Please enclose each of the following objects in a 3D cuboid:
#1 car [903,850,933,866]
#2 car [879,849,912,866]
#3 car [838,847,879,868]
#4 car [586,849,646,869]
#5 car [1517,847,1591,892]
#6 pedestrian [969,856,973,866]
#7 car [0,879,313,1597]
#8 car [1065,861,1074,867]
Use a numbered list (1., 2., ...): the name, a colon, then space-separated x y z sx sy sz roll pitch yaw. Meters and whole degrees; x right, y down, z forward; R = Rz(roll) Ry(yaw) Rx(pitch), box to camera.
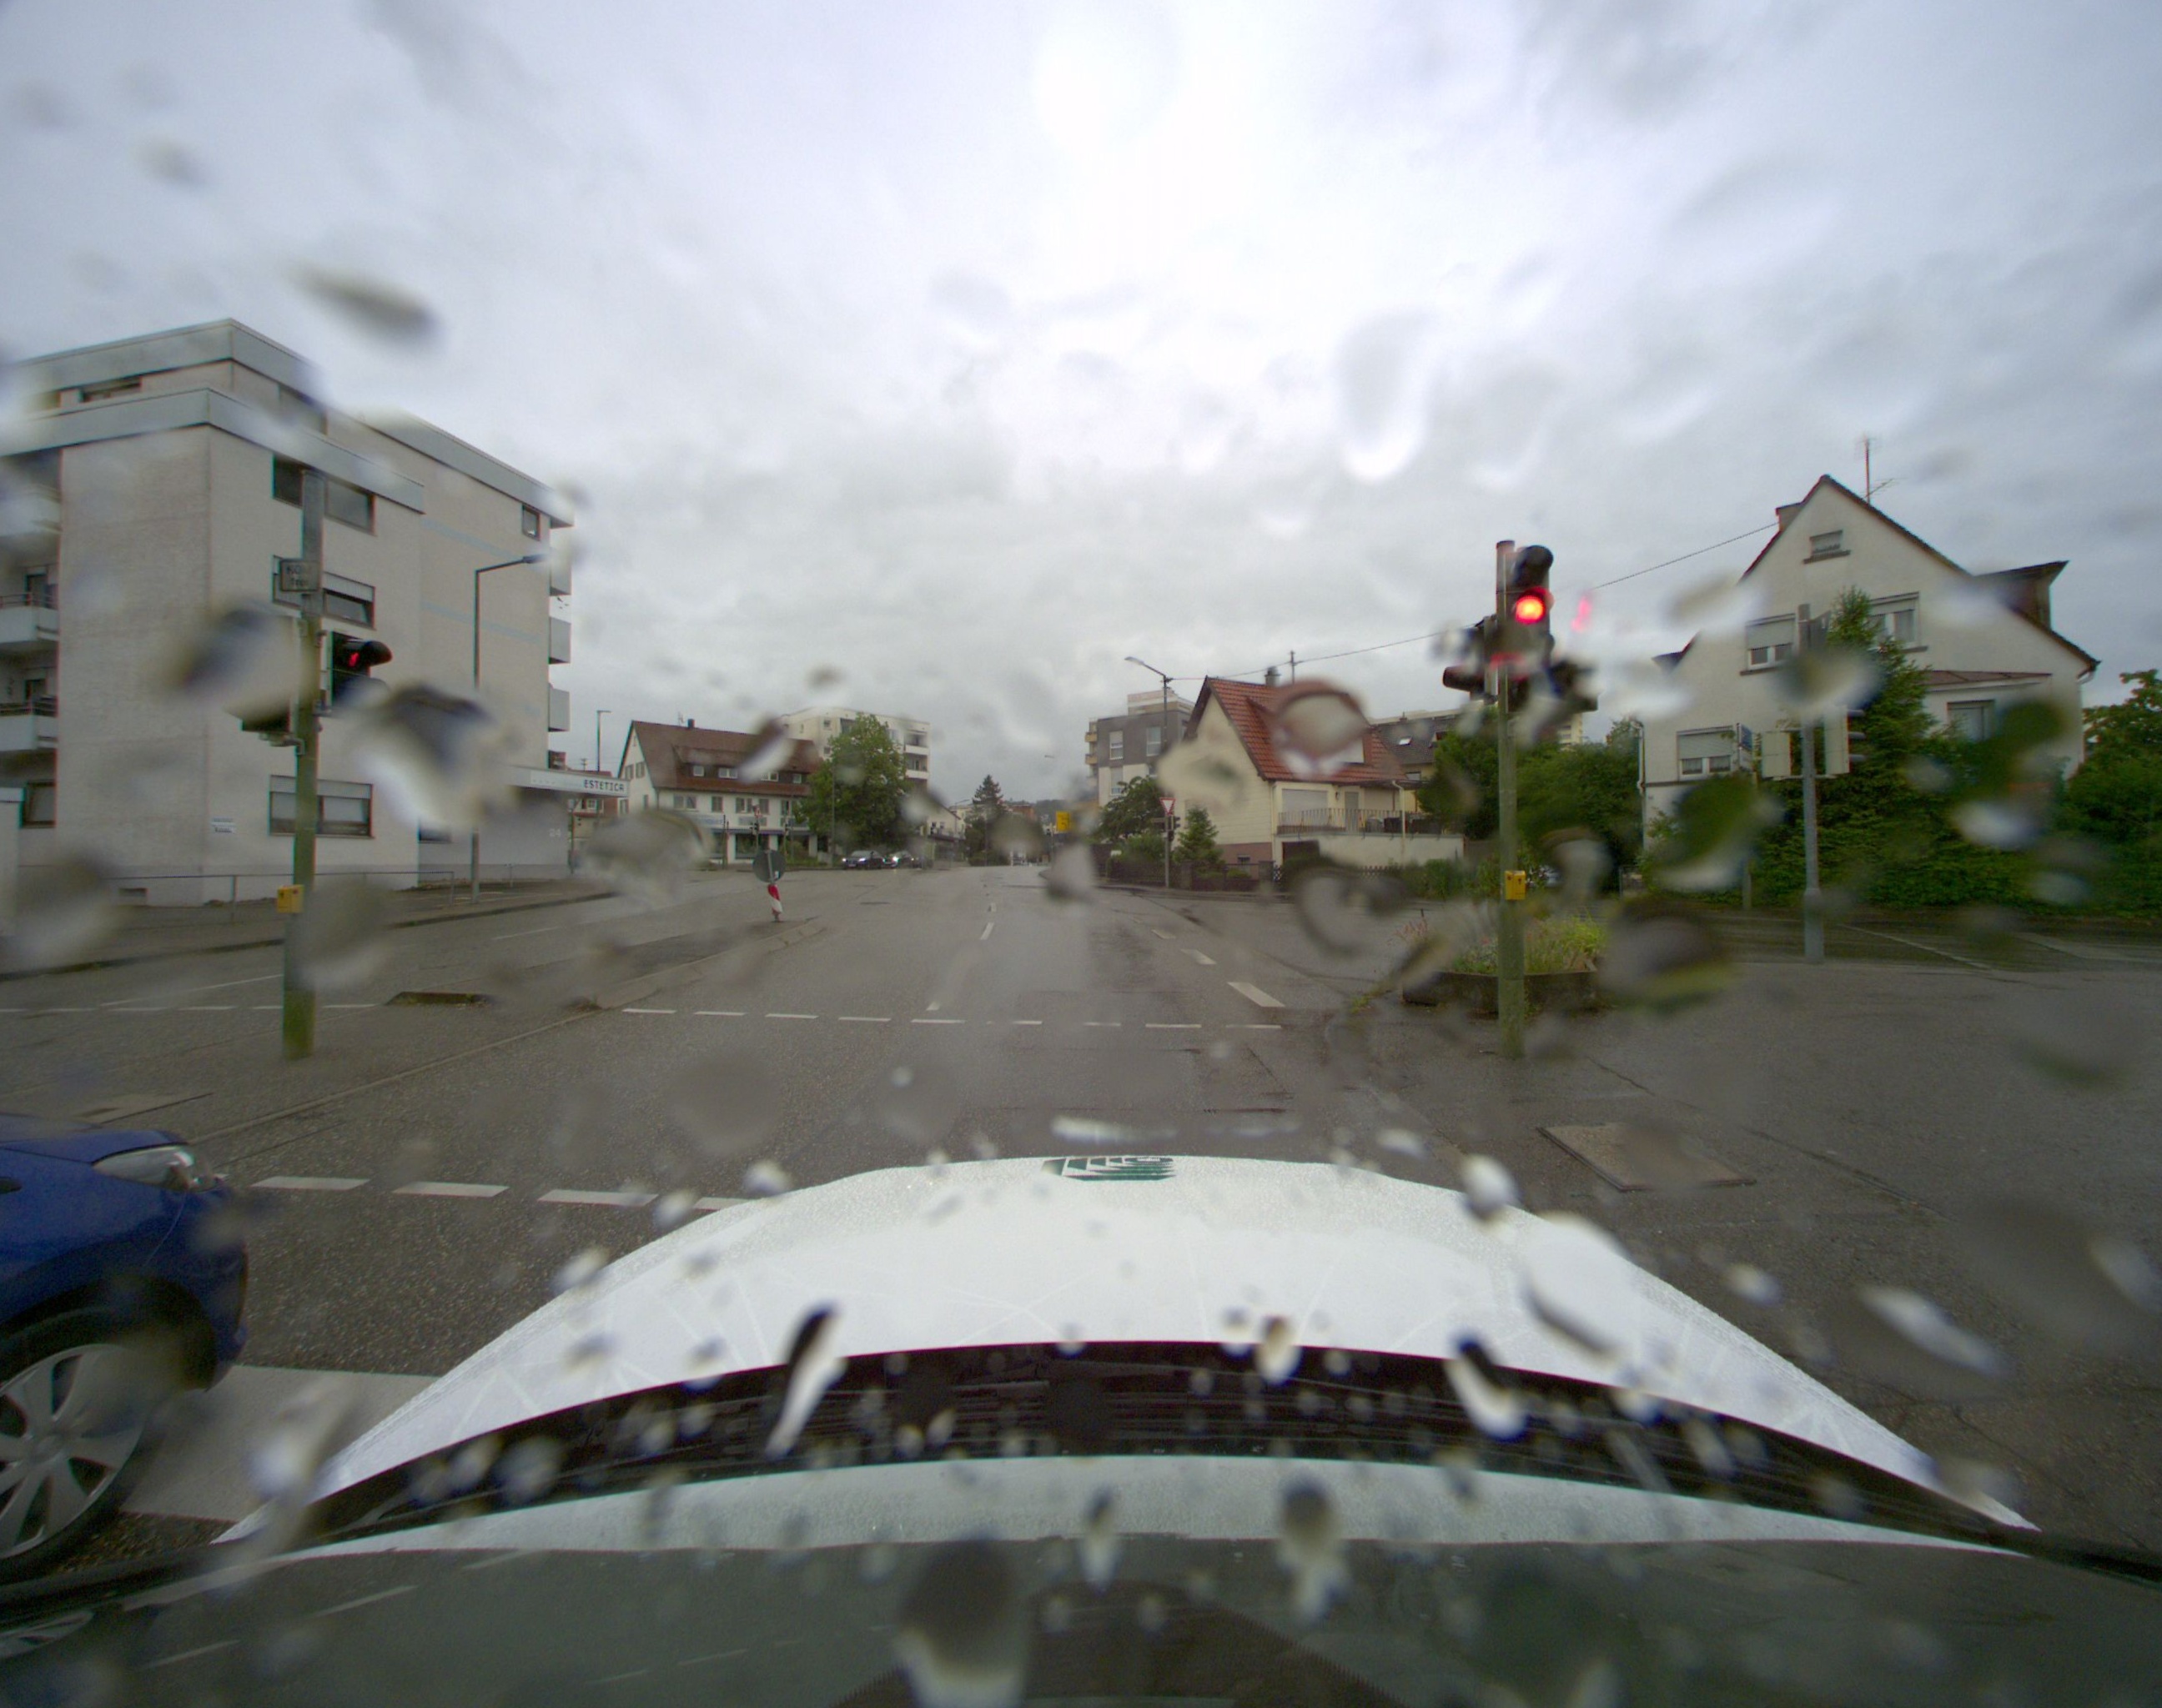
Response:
1. car: -14.380 0.327 72.011 1.772 1.420 3.832 0 0 2
2. car: -15.027 0.261 66.151 1.708 1.387 4.022 0 0 2
3. car: -16.013 0.216 58.818 1.772 1.420 3.832 0 0 2
4. car: -38.325 0.381 67.177 3.988 1.572 1.850 0 0 -42
5. car: 17.144 0.507 29.435 1.723 1.514 4.025 0 0 39
6. pedestrian: -18.402 1.155 136.359 0.494 1.658 0.435 0 0 7
7. car: -2.988 0.784 0.646 1.572 1.410 3.272 0 0 2
8. car: -2.731 2.419 197.198 1.805 1.486 4.192 -1 0 3
